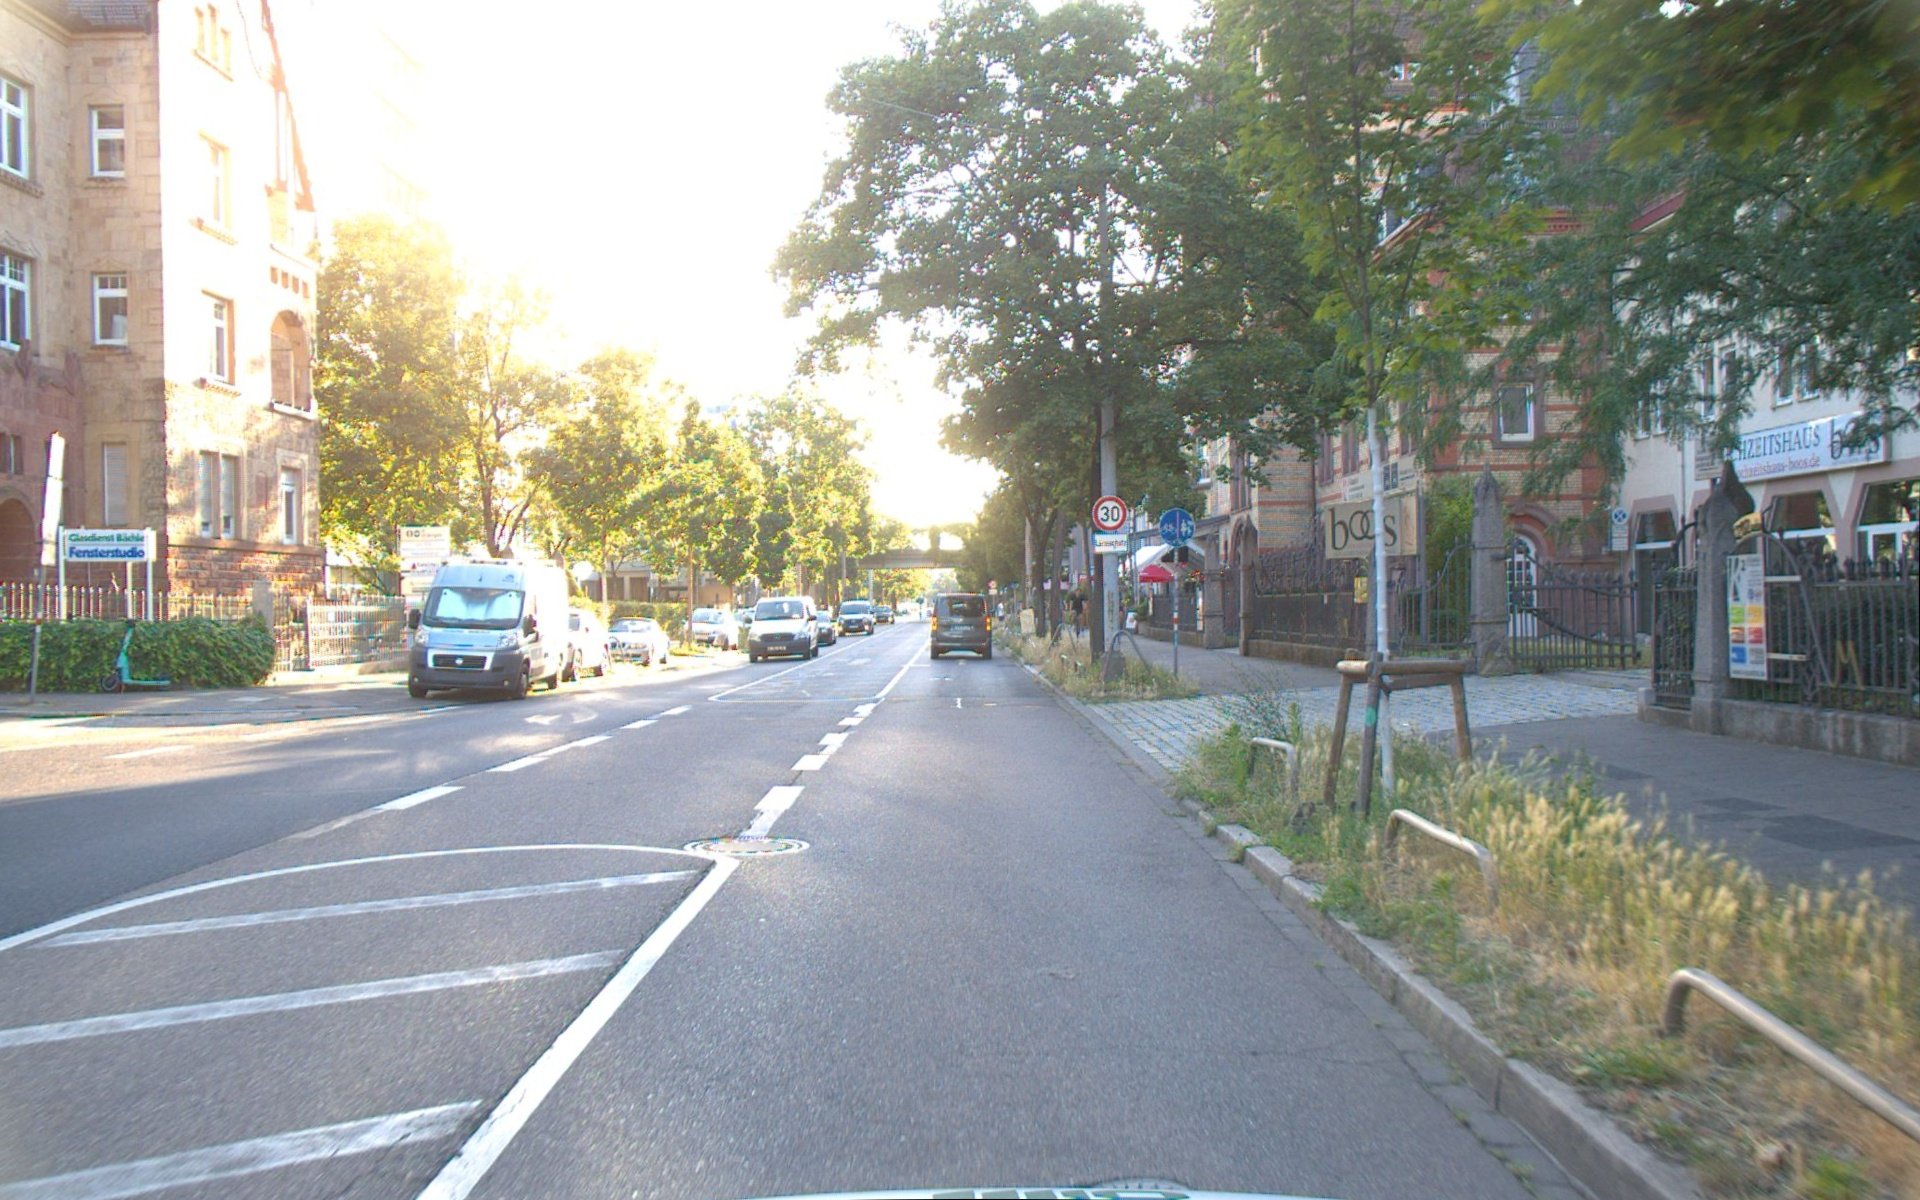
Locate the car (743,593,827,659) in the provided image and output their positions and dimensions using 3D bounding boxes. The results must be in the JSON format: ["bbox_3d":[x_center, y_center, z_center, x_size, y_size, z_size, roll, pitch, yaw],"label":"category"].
[{"bbox_3d":[-5.403,0.756,51.727,1.953,1.863,5.170,-3,0,1],"label":"car"}]

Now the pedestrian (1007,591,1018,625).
[{"bbox_3d":[3.034,0.468,94.813,0.496,1.922,0.543,0,0,-15],"label":"pedestrian"}]

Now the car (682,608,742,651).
[{"bbox_3d":[-9.074,1.057,60.783,1.662,1.477,3.999,0,0,-1],"label":"car"}]

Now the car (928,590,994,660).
[{"bbox_3d":[0.051,0.708,50.105,1.849,1.958,3.839,-2,0,1],"label":"car"}]

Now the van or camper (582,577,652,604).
[{"bbox_3d":[-33.642,-0.942,162.362,6.430,2.566,2.448,0,0,-2],"label":"van or camper"}]

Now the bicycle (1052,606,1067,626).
[{"bbox_3d":[4.683,0.742,77.830,0.567,0.913,1.987,0,0,0],"label":"bicycle"}]

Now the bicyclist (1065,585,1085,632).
[{"bbox_3d":[3.877,0.278,55.757,0.583,1.559,0.893,0,0,0],"label":"bicyclist"}]

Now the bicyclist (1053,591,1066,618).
[{"bbox_3d":[4.681,0.232,77.843,0.573,1.258,1.112,0,0,0],"label":"bicyclist"}]

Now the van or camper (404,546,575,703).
[{"bbox_3d":[-8.860,0.423,31.700,1.954,2.715,6.033,0,0,-4],"label":"van or camper"}]

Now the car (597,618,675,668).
[{"bbox_3d":[-8.952,1.170,45.931,1.505,1.270,3.613,0,0,-1],"label":"car"}]

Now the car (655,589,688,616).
[{"bbox_3d":[-25.157,0.218,144.382,1.953,2.348,5.245,0,0,0],"label":"car"}]

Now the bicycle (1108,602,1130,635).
[{"bbox_3d":[5.254,0.607,54.828,0.507,1.058,2.088,0,0,0],"label":"bicycle"}]

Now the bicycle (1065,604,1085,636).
[{"bbox_3d":[3.873,0.669,55.874,0.533,1.058,2.088,0,0,0],"label":"bicycle"}]

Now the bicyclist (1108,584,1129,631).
[{"bbox_3d":[5.251,0.253,54.825,0.583,1.559,0.893,0,0,0],"label":"bicyclist"}]

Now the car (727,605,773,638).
[{"bbox_3d":[-9.290,0.936,73.319,1.605,1.410,3.999,0,0,-1],"label":"car"}]

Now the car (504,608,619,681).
[{"bbox_3d":[-9.253,0.996,38.692,1.711,1.561,4.301,0,0,-1],"label":"car"}]

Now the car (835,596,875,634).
[{"bbox_3d":[-5.532,0.763,87.463,1.796,1.885,4.473,-3,0,-1],"label":"car"}]

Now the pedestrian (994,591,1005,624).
[{"bbox_3d":[2.281,0.425,95.230,0.496,1.922,0.543,0,0,-15],"label":"pedestrian"}]

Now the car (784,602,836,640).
[{"bbox_3d":[-6.194,0.838,68.741,1.723,1.410,4.304,-3,0,0],"label":"car"}]

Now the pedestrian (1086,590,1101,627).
[{"bbox_3d":[6.077,0.384,75.258,0.631,1.661,0.656,0,0,0],"label":"pedestrian"}]

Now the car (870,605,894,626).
[{"bbox_3d":[-6.144,1.222,130.377,1.645,1.556,4.000,-3,0,0],"label":"car"}]

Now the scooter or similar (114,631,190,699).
[{"bbox_3d":[-13.722,1.100,28.103,0.283,1.075,1.111,-2,0,42],"label":"scooter or similar"}]
